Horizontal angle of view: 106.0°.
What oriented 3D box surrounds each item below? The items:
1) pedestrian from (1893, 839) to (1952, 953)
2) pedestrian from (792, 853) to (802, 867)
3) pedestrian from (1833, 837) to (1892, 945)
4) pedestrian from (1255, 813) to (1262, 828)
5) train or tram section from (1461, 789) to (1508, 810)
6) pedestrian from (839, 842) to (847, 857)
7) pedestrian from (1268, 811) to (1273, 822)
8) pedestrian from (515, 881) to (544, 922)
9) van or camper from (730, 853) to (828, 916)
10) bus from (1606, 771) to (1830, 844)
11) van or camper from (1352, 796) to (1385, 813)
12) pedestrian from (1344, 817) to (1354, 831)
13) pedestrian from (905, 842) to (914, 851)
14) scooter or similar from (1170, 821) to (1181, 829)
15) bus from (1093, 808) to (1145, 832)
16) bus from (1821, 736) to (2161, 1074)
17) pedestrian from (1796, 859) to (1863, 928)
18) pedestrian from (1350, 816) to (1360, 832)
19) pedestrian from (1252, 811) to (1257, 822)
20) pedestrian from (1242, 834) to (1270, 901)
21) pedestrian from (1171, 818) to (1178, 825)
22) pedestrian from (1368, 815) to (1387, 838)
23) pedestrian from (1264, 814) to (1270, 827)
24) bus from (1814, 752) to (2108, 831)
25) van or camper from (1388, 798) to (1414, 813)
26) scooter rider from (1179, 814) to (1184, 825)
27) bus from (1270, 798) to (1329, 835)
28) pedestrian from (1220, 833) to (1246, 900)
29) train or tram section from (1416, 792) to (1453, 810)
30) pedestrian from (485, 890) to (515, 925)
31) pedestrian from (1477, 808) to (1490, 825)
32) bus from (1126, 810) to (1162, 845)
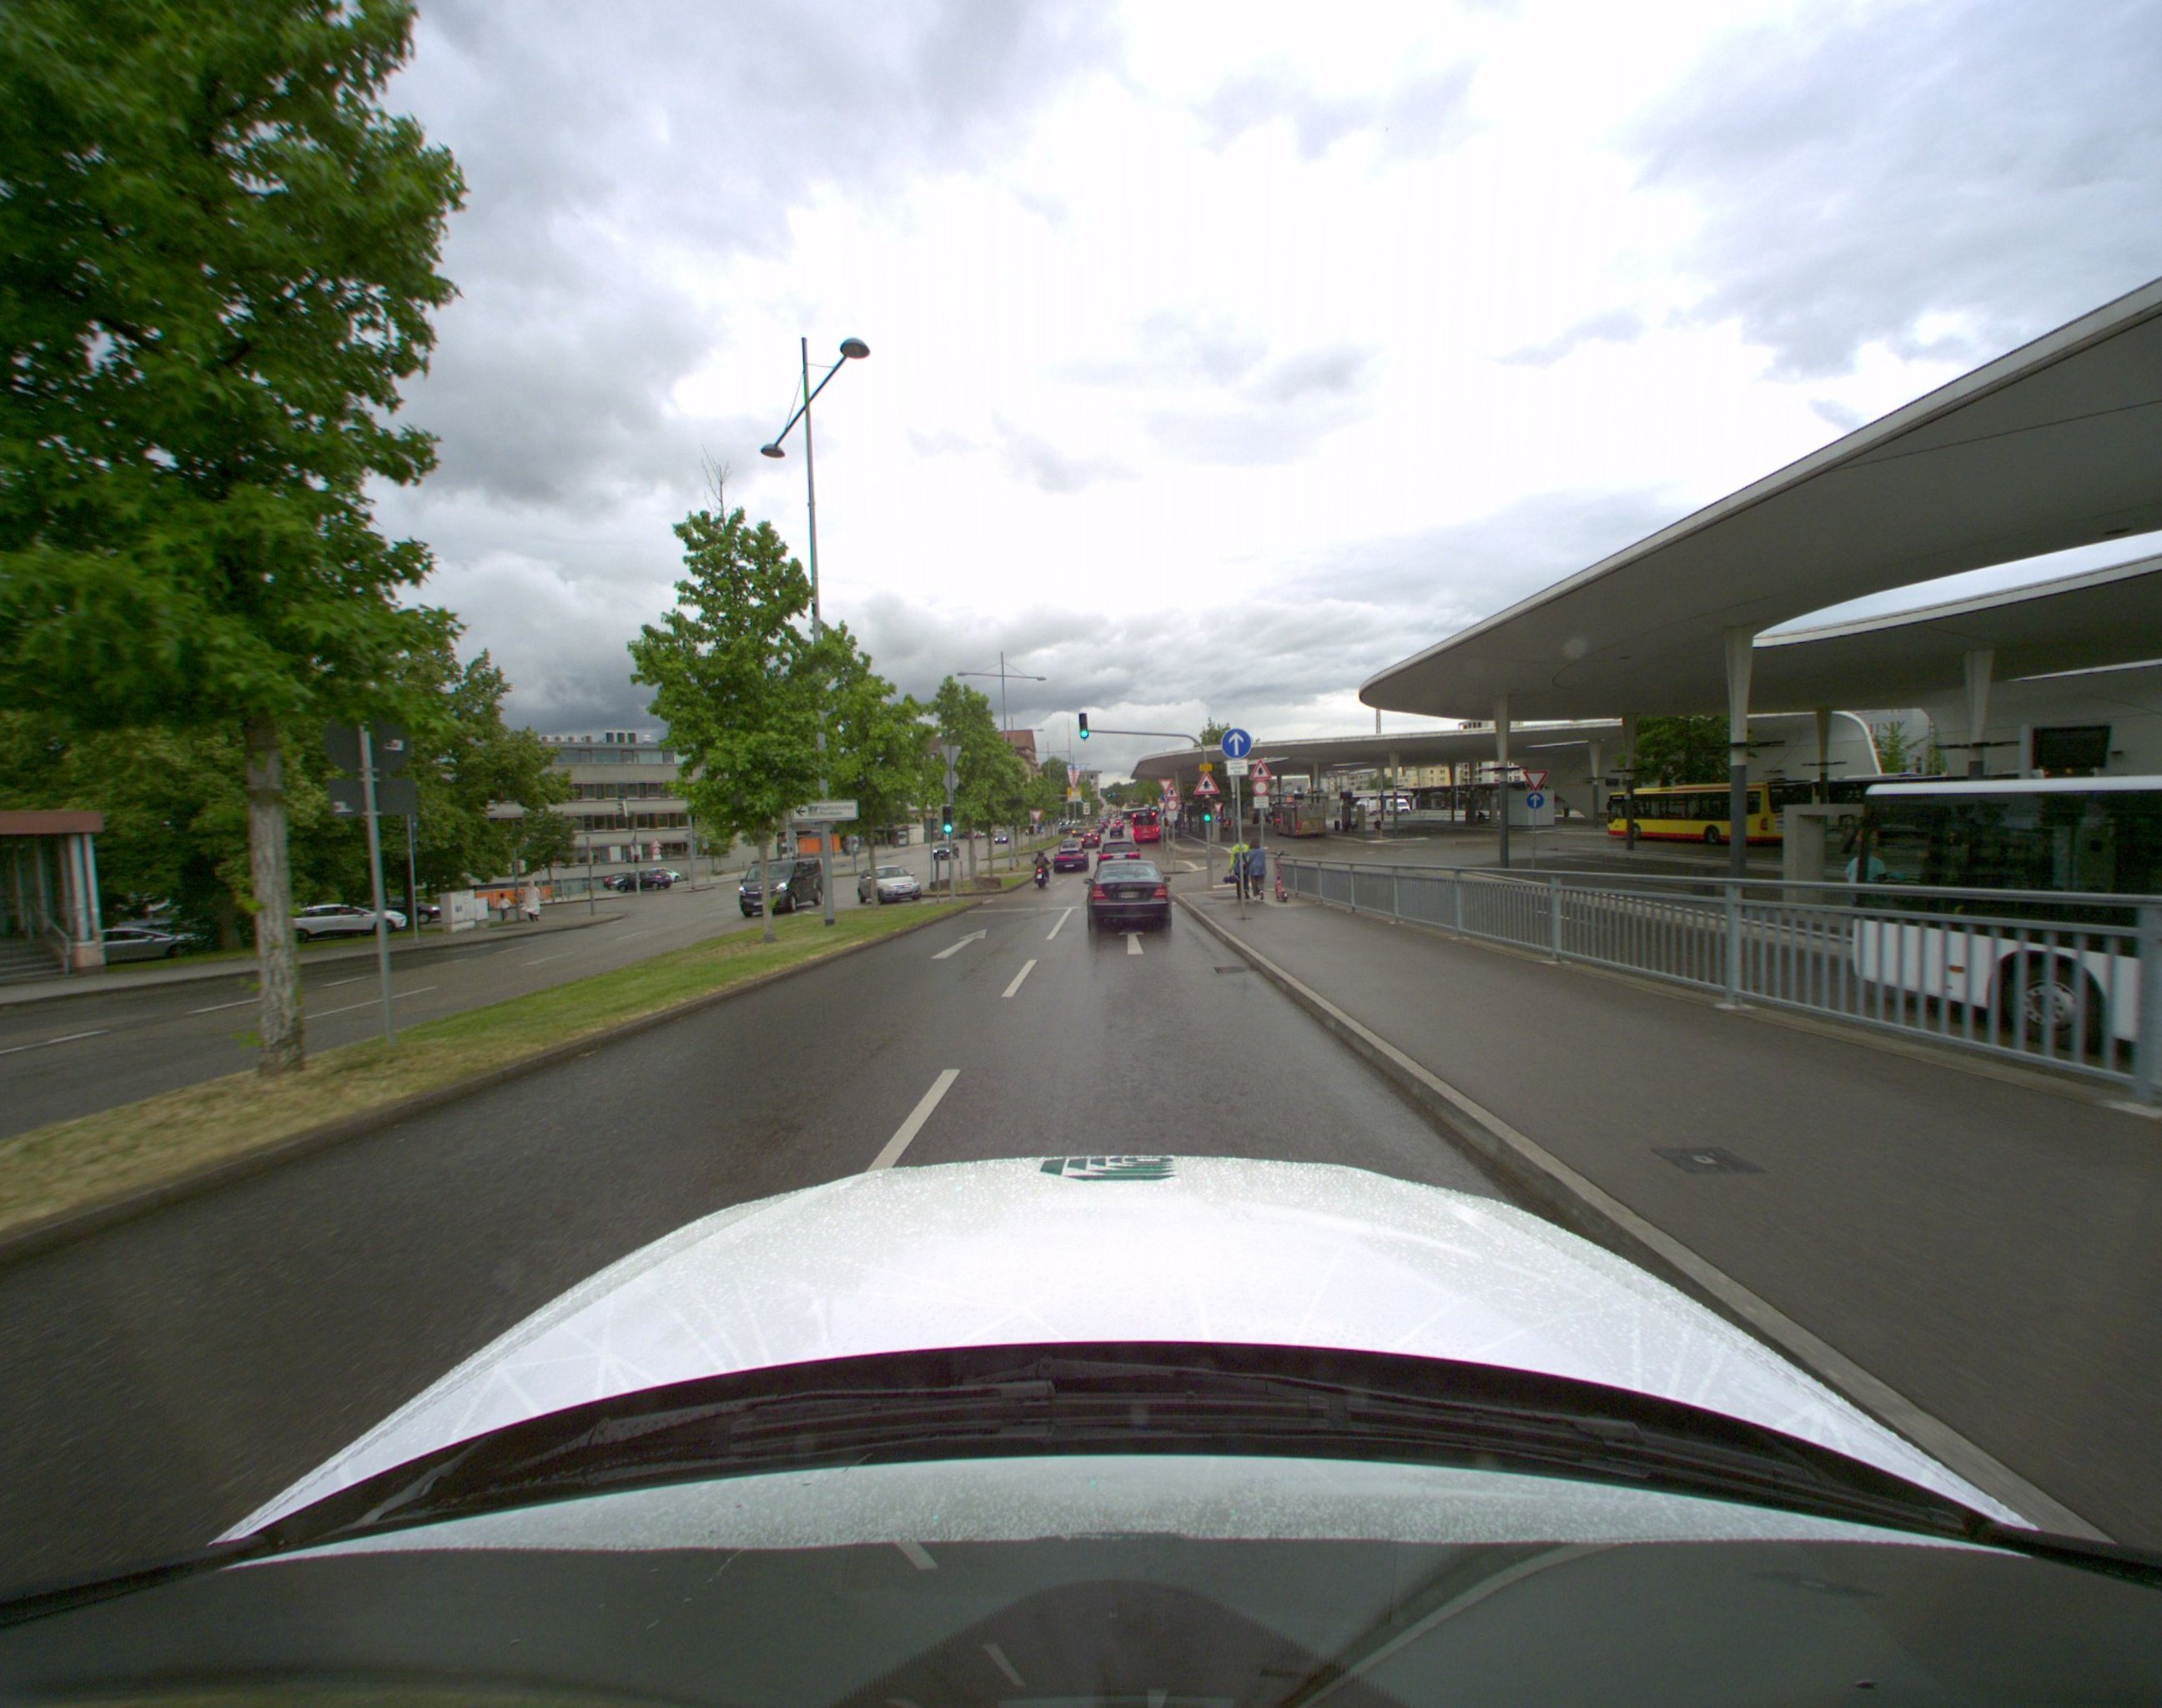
[{"bbox_3d":[14.684,0.710,14.212,0.589,1.903,0.642,-4,3,-37],"label":"pedestrian"},{"bbox_3d":[-28.188,0.581,80.780,0.676,1.392,0.721,-3,2,0],"label":"pedestrian"},{"bbox_3d":[14.357,0.651,14.970,0.589,1.886,0.642,-4,5,-36],"label":"pedestrian"},{"bbox_3d":[23.881,-4.490,109.688,0.716,2.014,0.674,0,-1,29],"label":"pedestrian"},{"bbox_3d":[74.036,-9.968,149.772,3.119,3.677,11.625,0,3,2],"label":"train or tram section"},{"bbox_3d":[-27.255,-0.535,93.161,0.471,1.683,0.765,-4,3,9],"label":"pedestrian"},{"bbox_3d":[26.330,-5.195,113.259,0.573,1.578,0.565,0,-1,37],"label":"pedestrian"},{"bbox_3d":[-22.005,1.885,32.489,0.652,1.570,0.628,-5,0,-14],"label":"pedestrian"},{"bbox_3d":[-11.718,1.128,32.065,2.214,2.072,5.272,-5,0,-6],"label":"van or camper"},{"bbox_3d":[33.726,-2.500,44.155,2.779,3.256,12.146,-3,3,1],"label":"bus"},{"bbox_3d":[45.375,-7.837,128.508,4.591,2.557,2.119,0,1,1],"label":"van or camper"},{"bbox_3d":[25.238,-2.856,76.685,0.786,1.226,0.637,-3,3,20],"label":"pedestrian"},{"bbox_3d":[-25.229,-1.117,119.615,0.967,1.267,0.854,1,4,23],"label":"pedestrian"},{"bbox_3d":[13.152,-3.995,113.348,1.233,1.012,0.768,-3,2,16],"label":"scooter or similar"},{"bbox_3d":[7.048,-6.459,154.222,2.861,3.986,11.732,-5,3,-36],"label":"bus"},{"bbox_3d":[12.107,0.678,5.679,2.834,3.360,12.437,0,4,2],"label":"bus"},{"bbox_3d":[15.312,0.788,16.654,0.954,1.254,0.644,-7,5,-21],"label":"pedestrian"},{"bbox_3d":[25.082,-2.720,74.494,0.786,1.377,0.637,-3,3,20],"label":"pedestrian"},{"bbox_3d":[24.093,-5.195,113.189,0.573,1.578,0.565,0,-1,32],"label":"pedestrian"},{"bbox_3d":[4.431,0.349,20.651,0.587,1.670,0.580,0,-2,2],"label":"pedestrian"},{"bbox_3d":[12.964,-4.484,113.121,0.906,0.985,0.636,-2,-1,16],"label":"pedestrian"},{"bbox_3d":[22.557,-2.059,61.983,0.720,1.683,1.013,-6,3,-23],"label":"pedestrian"},{"bbox_3d":[23.247,-4.202,101.958,0.559,1.691,0.613,-3,3,-4],"label":"pedestrian"},{"bbox_3d":[43.800,-3.089,41.526,2.456,3.256,11.982,-4,3,3],"label":"bus"},{"bbox_3d":[47.850,-7.206,121.995,1.986,2.102,5.483,0,1,2],"label":"van or camper"},{"bbox_3d":[13.964,-4.732,113.070,0.587,1.489,0.768,-3,2,16],"label":"scooter rider"},{"bbox_3d":[20.568,-3.583,77.457,2.710,3.042,12.100,-4,3,3],"label":"bus"},{"bbox_3d":[3.860,0.318,20.704,0.520,1.670,0.581,-2,0,2],"label":"pedestrian"},{"bbox_3d":[74.910,-11.280,172.919,3.119,3.658,11.625,0,3,2],"label":"train or tram section"},{"bbox_3d":[-23.067,2.105,32.341,0.651,1.292,0.629,-5,0,-11],"label":"pedestrian"},{"bbox_3d":[37.754,-3.520,76.416,0.793,1.585,0.907,-2,2,-4],"label":"pedestrian"},{"bbox_3d":[6.578,-2.931,86.279,3.272,3.290,10.891,-4,3,3],"label":"bus"}]
